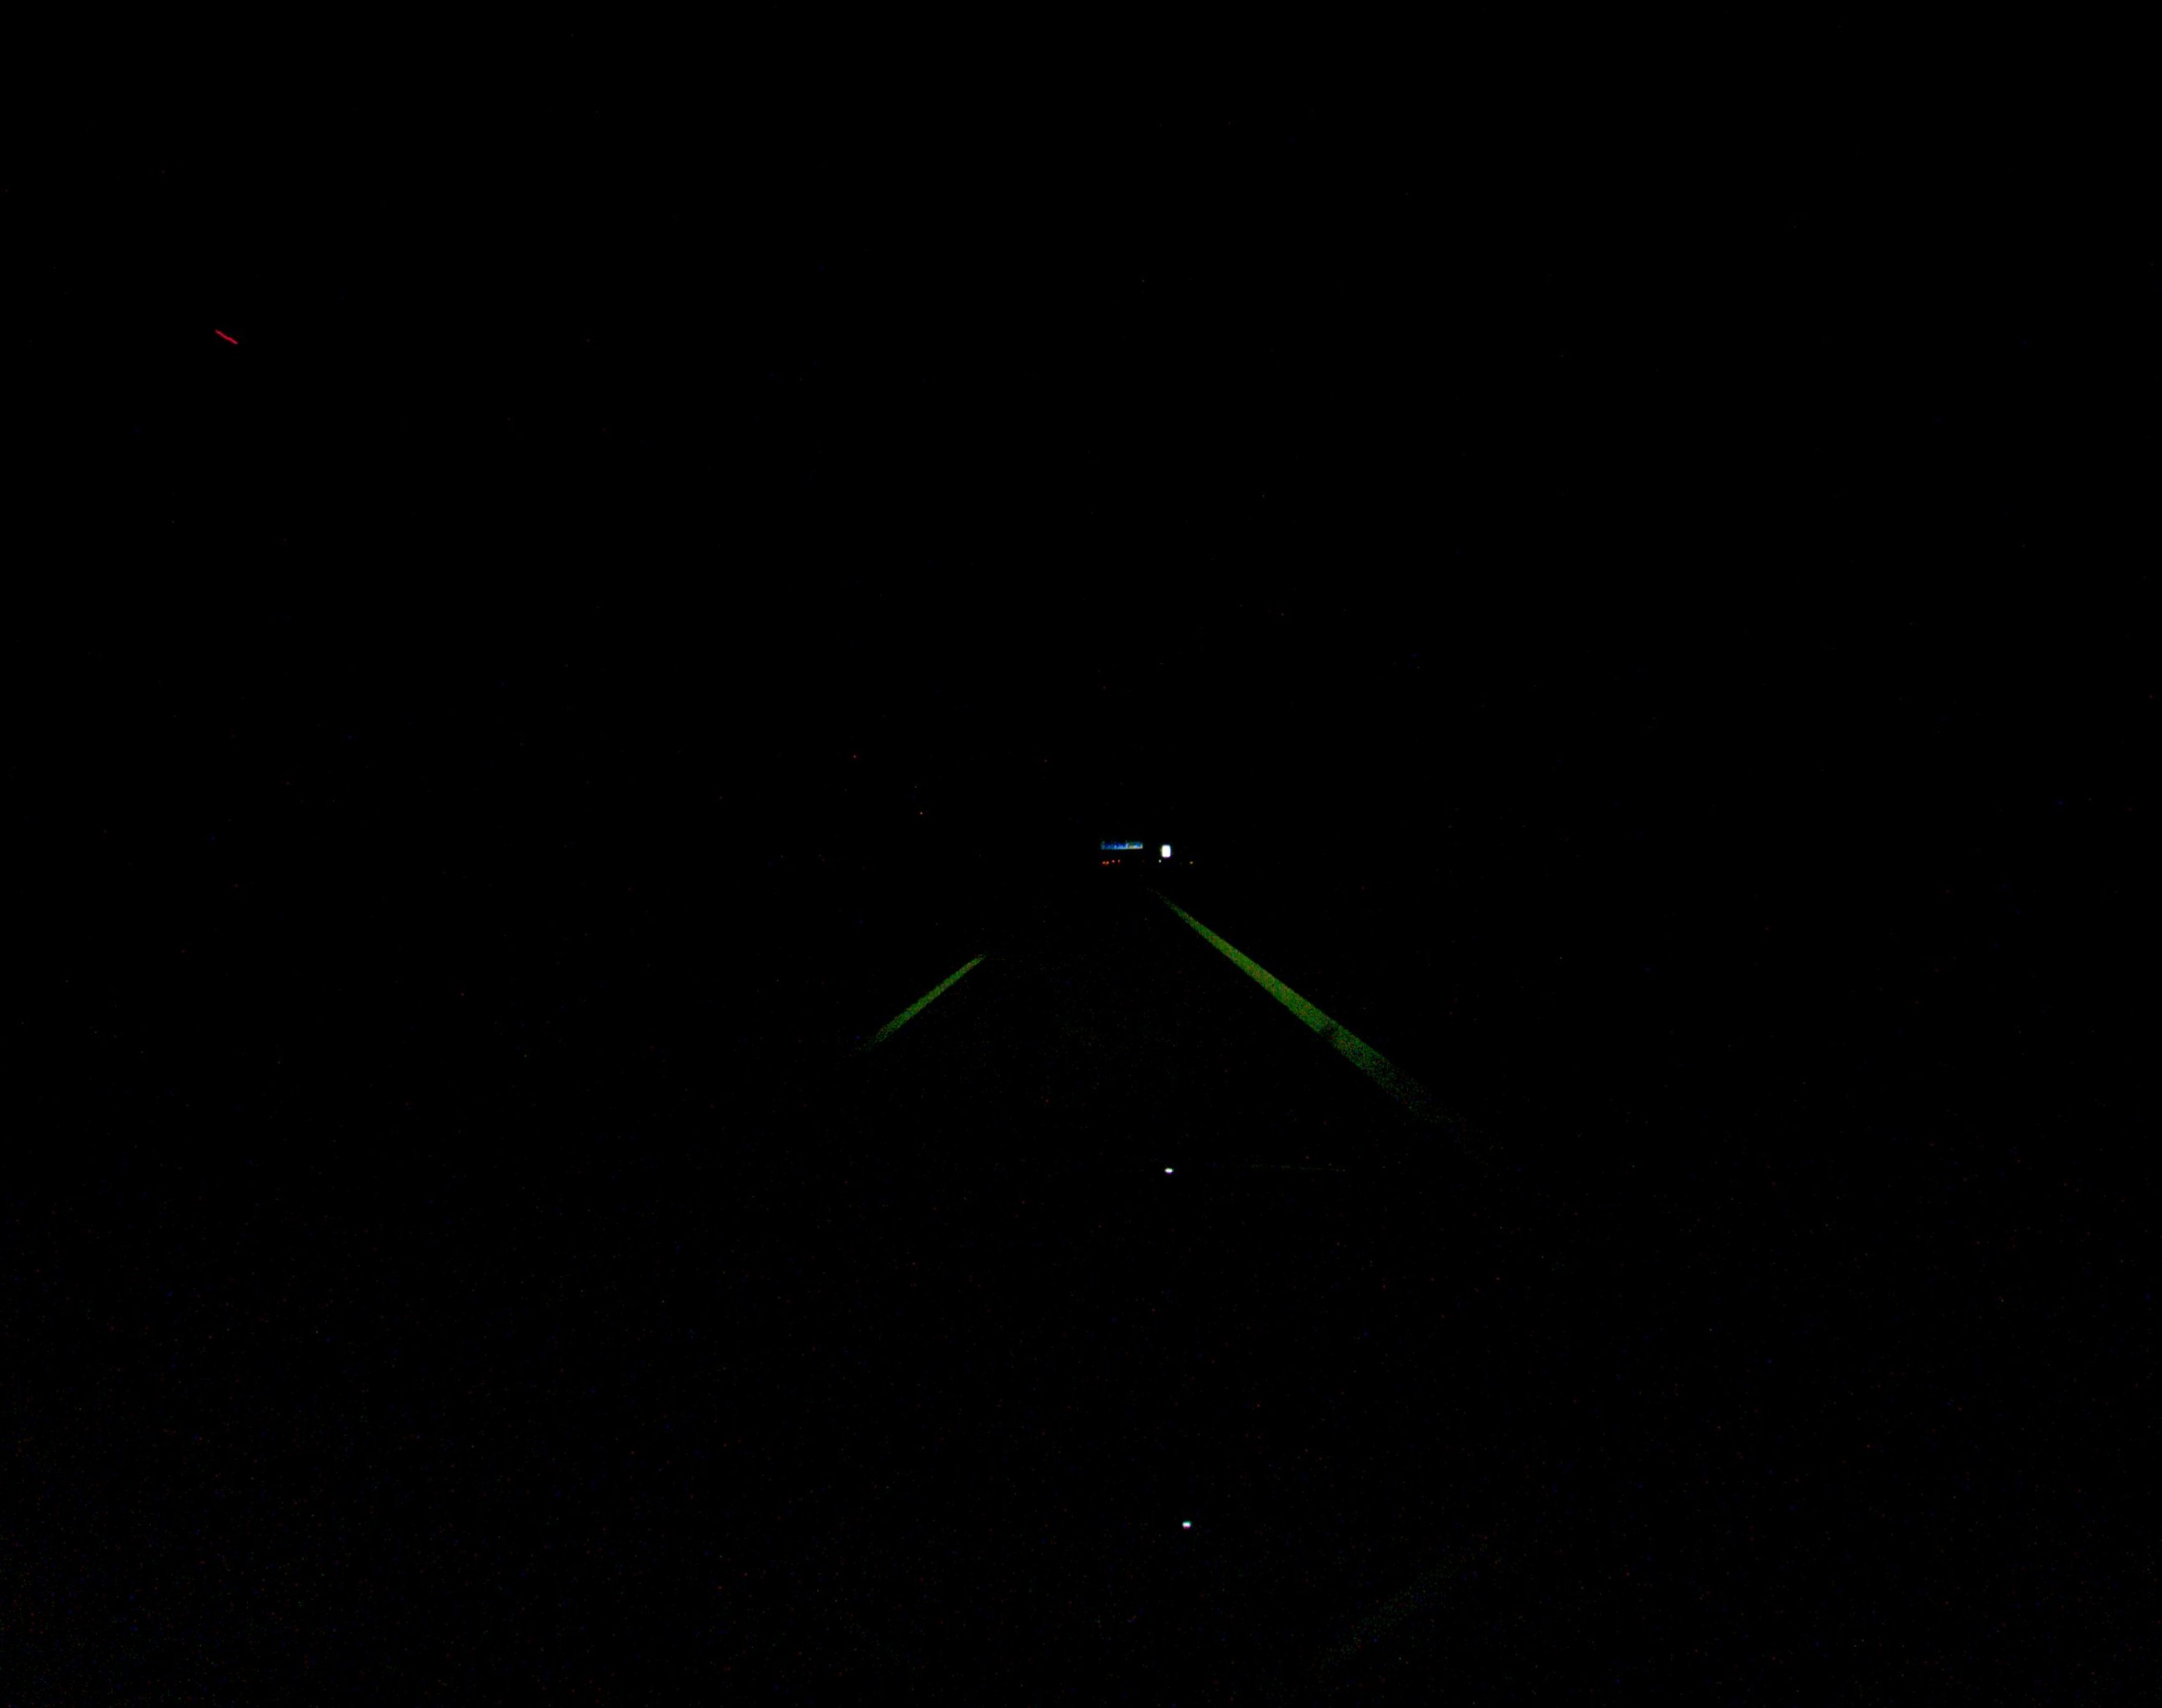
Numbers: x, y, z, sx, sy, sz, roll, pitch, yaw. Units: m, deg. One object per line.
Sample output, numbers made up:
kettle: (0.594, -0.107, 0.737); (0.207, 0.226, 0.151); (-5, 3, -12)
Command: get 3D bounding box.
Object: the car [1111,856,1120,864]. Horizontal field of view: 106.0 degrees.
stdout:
car: (10.642, 1.933, 251.395); (2.498, 2.314, 4.979); (-1, -1, 7)
